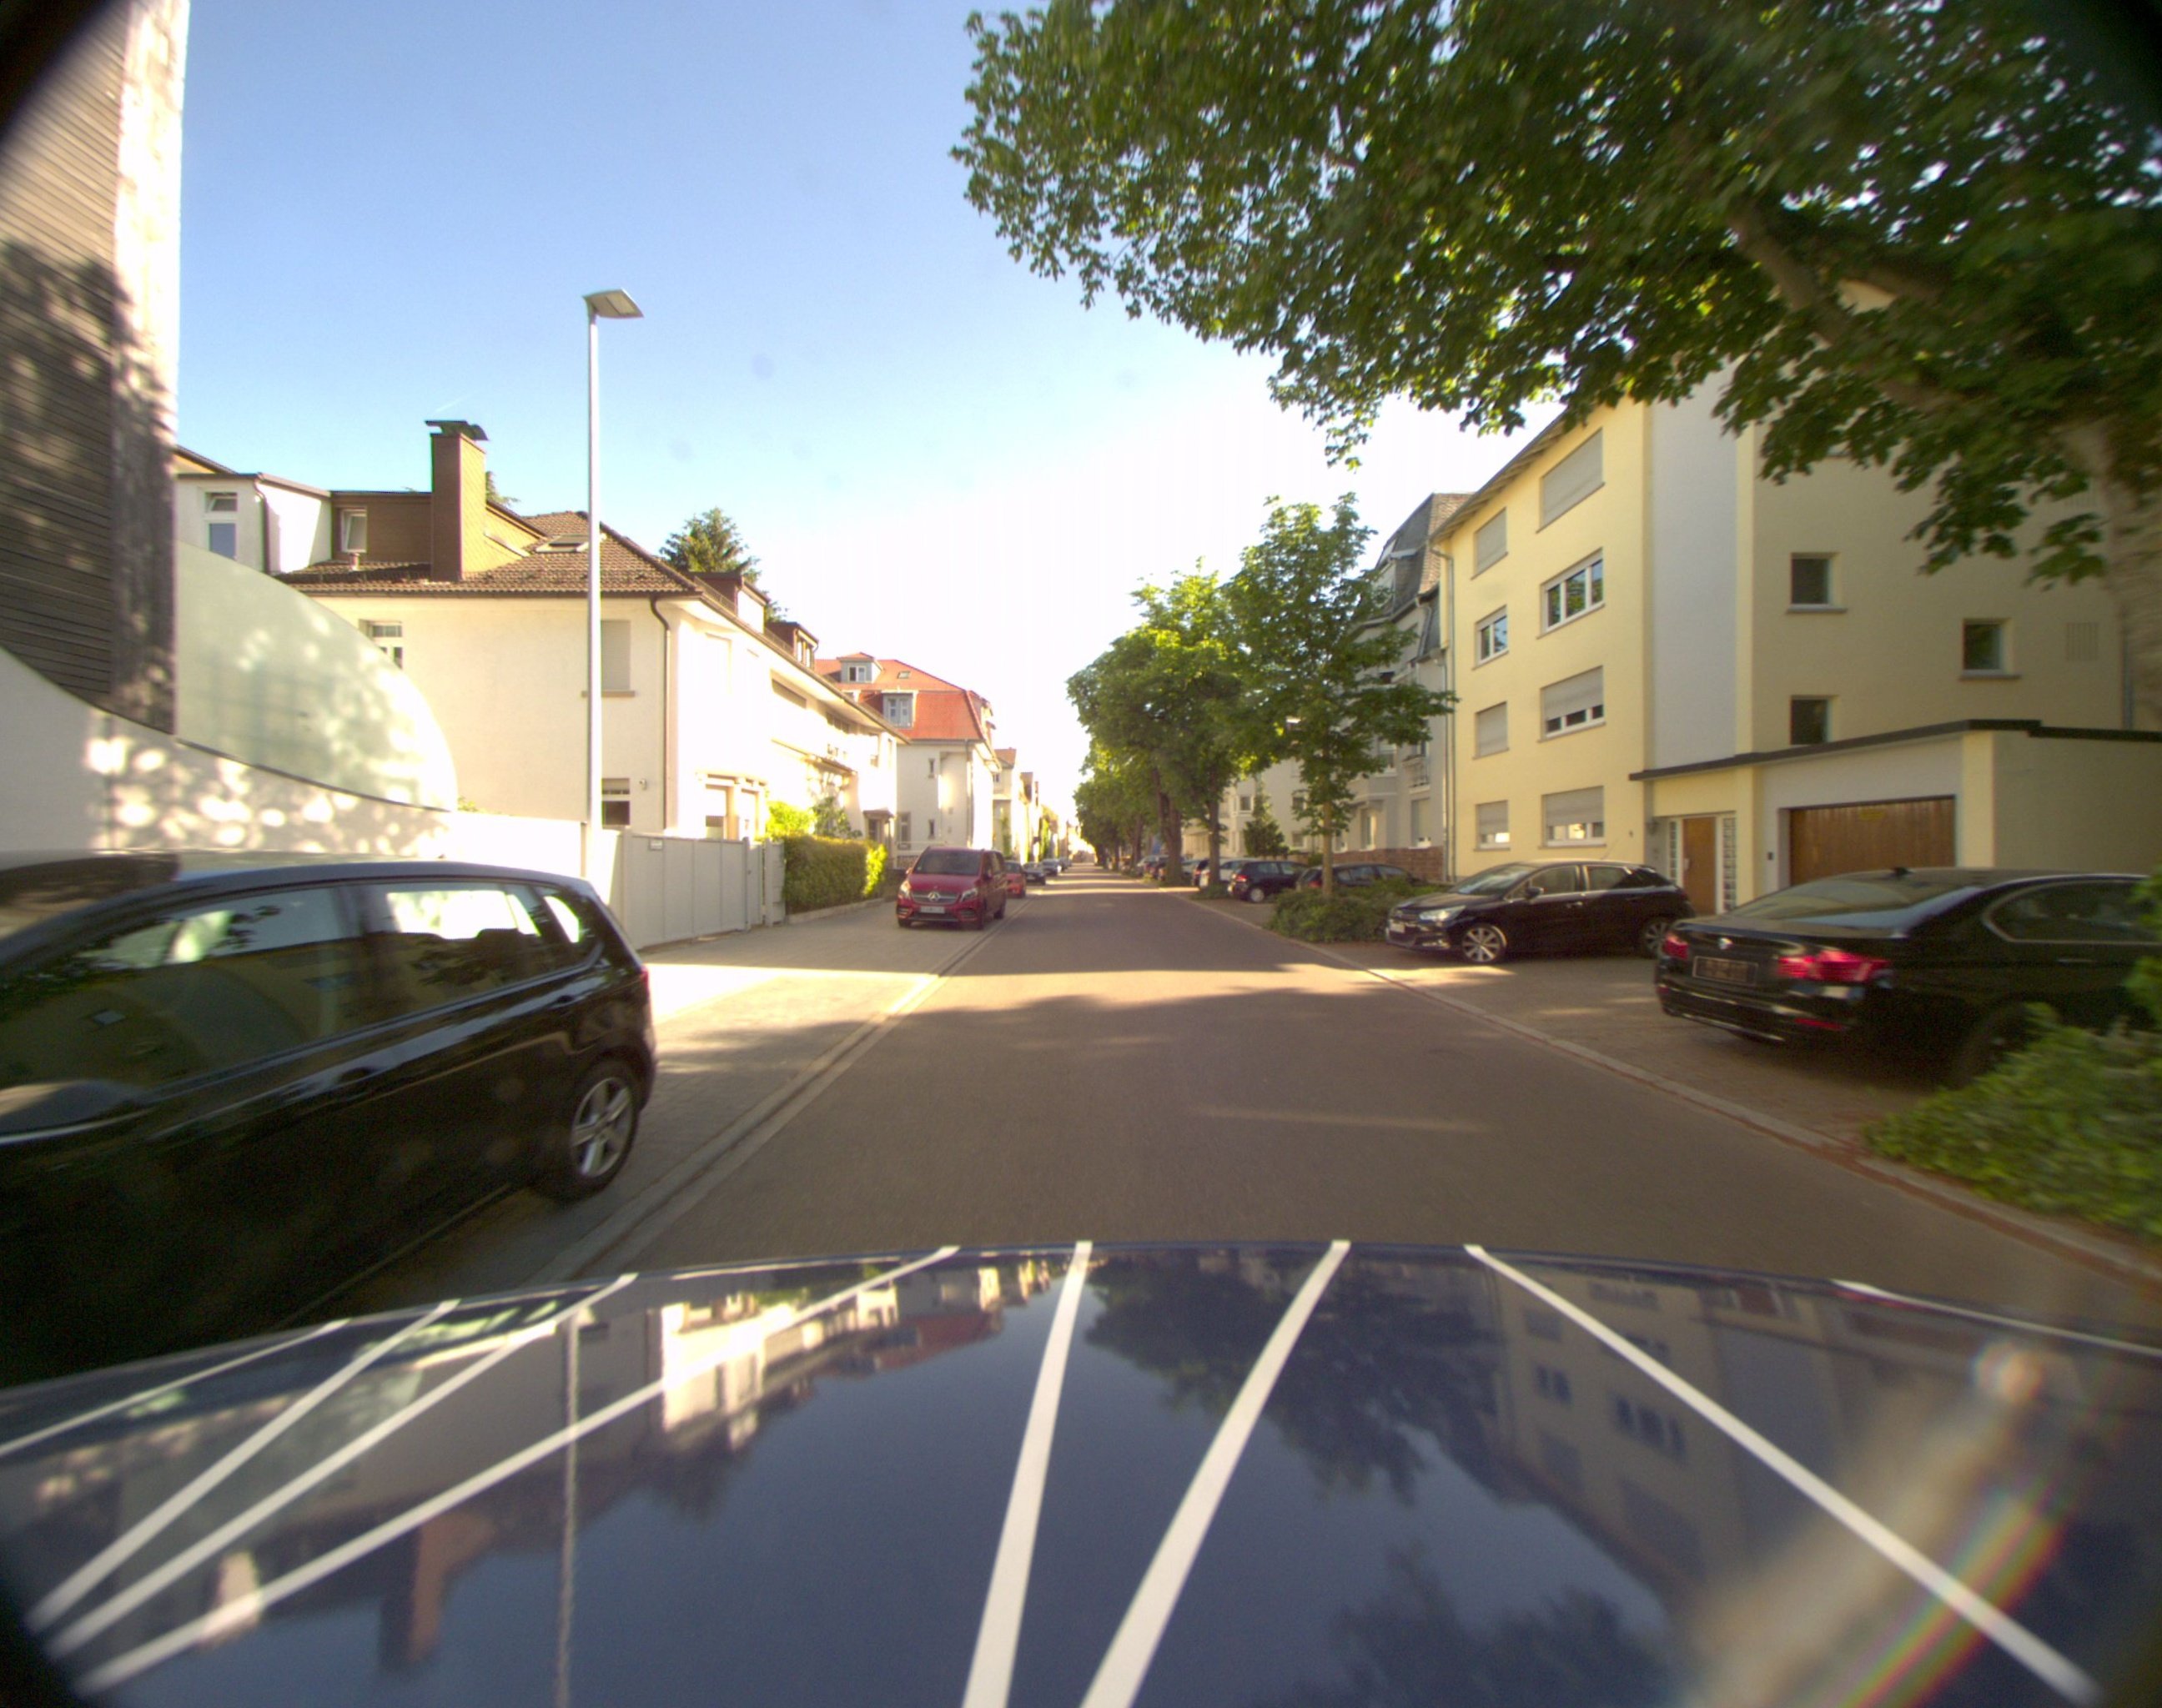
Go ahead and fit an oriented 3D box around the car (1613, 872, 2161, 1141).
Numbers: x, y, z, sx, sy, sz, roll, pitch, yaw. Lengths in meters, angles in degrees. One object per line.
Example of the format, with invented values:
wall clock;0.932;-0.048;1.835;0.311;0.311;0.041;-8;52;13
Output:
car;6.807;0.950;5.616;4.486;1.470;1.868;-1;1;-2

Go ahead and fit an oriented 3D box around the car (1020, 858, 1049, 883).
car;-2.883;1.016;47.474;1.624;1.431;3.934;2;0;-2

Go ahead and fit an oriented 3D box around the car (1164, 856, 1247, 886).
car;6.904;0.931;42.533;4.397;1.642;1.823;0;0;1

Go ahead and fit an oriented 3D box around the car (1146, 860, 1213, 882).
car;6.588;1.129;51.006;4.198;1.490;1.861;0;0;-1

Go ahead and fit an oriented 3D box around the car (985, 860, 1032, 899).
car;-2.985;1.021;31.795;1.596;1.472;3.247;2;0;0

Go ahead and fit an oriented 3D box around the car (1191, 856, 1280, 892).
car;7.276;0.940;35.994;3.872;1.566;1.848;-2;0;3

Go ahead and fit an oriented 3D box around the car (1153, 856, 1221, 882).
car;6.681;0.941;48.022;3.998;1.583;1.878;0;0;-2

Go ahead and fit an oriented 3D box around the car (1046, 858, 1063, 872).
car;-2.988;1.250;86.176;1.713;1.428;4.192;2;1;0

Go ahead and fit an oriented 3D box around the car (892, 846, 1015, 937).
car;-2.952;0.781;18.818;1.875;1.894;5.198;1;1;3

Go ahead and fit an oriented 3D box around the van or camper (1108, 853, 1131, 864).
van or camper;6.799;0.787;133.977;3.954;1.762;1.809;-1;-1;-1

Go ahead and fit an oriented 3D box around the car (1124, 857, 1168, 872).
car;7.076;1.179;83.283;4.602;1.597;1.832;0;0;-3

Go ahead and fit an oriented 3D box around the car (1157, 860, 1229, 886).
car;6.562;1.111;44.844;3.997;1.460;1.697;0;0;-1

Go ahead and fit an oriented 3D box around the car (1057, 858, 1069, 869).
car;-2.858;1.468;121.275;1.872;1.635;4.199;1;0;0

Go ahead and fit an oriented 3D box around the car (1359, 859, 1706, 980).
car;6.762;0.920;11.706;4.184;1.491;1.999;-2;1;-4

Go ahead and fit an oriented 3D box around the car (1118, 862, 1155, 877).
car;6.306;1.788;87.016;3.883;1.505;1.831;-3;1;-9

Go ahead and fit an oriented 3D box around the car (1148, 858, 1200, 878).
car;7.325;1.085;60.336;3.955;1.489;1.662;-1;0;2

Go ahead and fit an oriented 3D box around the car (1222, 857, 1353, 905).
car;7.015;0.918;26.161;4.031;1.436;1.800;-2;1;4

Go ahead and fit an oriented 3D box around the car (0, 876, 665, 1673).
car;-3.070;0.897;1.867;1.741;1.522;4.178;2;0;0

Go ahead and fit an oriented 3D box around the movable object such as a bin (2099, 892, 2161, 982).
movable object such as a bin;13.708;1.042;9.559;0.674;1.051;0.832;-2;1;0

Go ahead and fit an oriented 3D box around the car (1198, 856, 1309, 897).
car;6.934;0.890;30.765;4.033;1.476;1.807;-2;0;-1

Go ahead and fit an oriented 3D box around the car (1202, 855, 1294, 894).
car;7.234;0.882;33.200;3.525;1.566;1.770;-2;0;-5

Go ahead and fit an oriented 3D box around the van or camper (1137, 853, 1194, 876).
van or camper;6.962;0.860;63.063;4.508;1.903;1.964;0;0;0

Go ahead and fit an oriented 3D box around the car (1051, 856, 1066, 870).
car;-3.039;1.157;102.546;1.782;1.686;4.319;-2;1;0

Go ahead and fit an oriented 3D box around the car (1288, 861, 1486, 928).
car;7.225;0.951;18.230;3.997;1.413;1.771;-2;-1;-1

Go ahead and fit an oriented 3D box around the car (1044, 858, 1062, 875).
car;-2.717;1.175;73.861;1.667;1.511;4.000;1;1;-3
